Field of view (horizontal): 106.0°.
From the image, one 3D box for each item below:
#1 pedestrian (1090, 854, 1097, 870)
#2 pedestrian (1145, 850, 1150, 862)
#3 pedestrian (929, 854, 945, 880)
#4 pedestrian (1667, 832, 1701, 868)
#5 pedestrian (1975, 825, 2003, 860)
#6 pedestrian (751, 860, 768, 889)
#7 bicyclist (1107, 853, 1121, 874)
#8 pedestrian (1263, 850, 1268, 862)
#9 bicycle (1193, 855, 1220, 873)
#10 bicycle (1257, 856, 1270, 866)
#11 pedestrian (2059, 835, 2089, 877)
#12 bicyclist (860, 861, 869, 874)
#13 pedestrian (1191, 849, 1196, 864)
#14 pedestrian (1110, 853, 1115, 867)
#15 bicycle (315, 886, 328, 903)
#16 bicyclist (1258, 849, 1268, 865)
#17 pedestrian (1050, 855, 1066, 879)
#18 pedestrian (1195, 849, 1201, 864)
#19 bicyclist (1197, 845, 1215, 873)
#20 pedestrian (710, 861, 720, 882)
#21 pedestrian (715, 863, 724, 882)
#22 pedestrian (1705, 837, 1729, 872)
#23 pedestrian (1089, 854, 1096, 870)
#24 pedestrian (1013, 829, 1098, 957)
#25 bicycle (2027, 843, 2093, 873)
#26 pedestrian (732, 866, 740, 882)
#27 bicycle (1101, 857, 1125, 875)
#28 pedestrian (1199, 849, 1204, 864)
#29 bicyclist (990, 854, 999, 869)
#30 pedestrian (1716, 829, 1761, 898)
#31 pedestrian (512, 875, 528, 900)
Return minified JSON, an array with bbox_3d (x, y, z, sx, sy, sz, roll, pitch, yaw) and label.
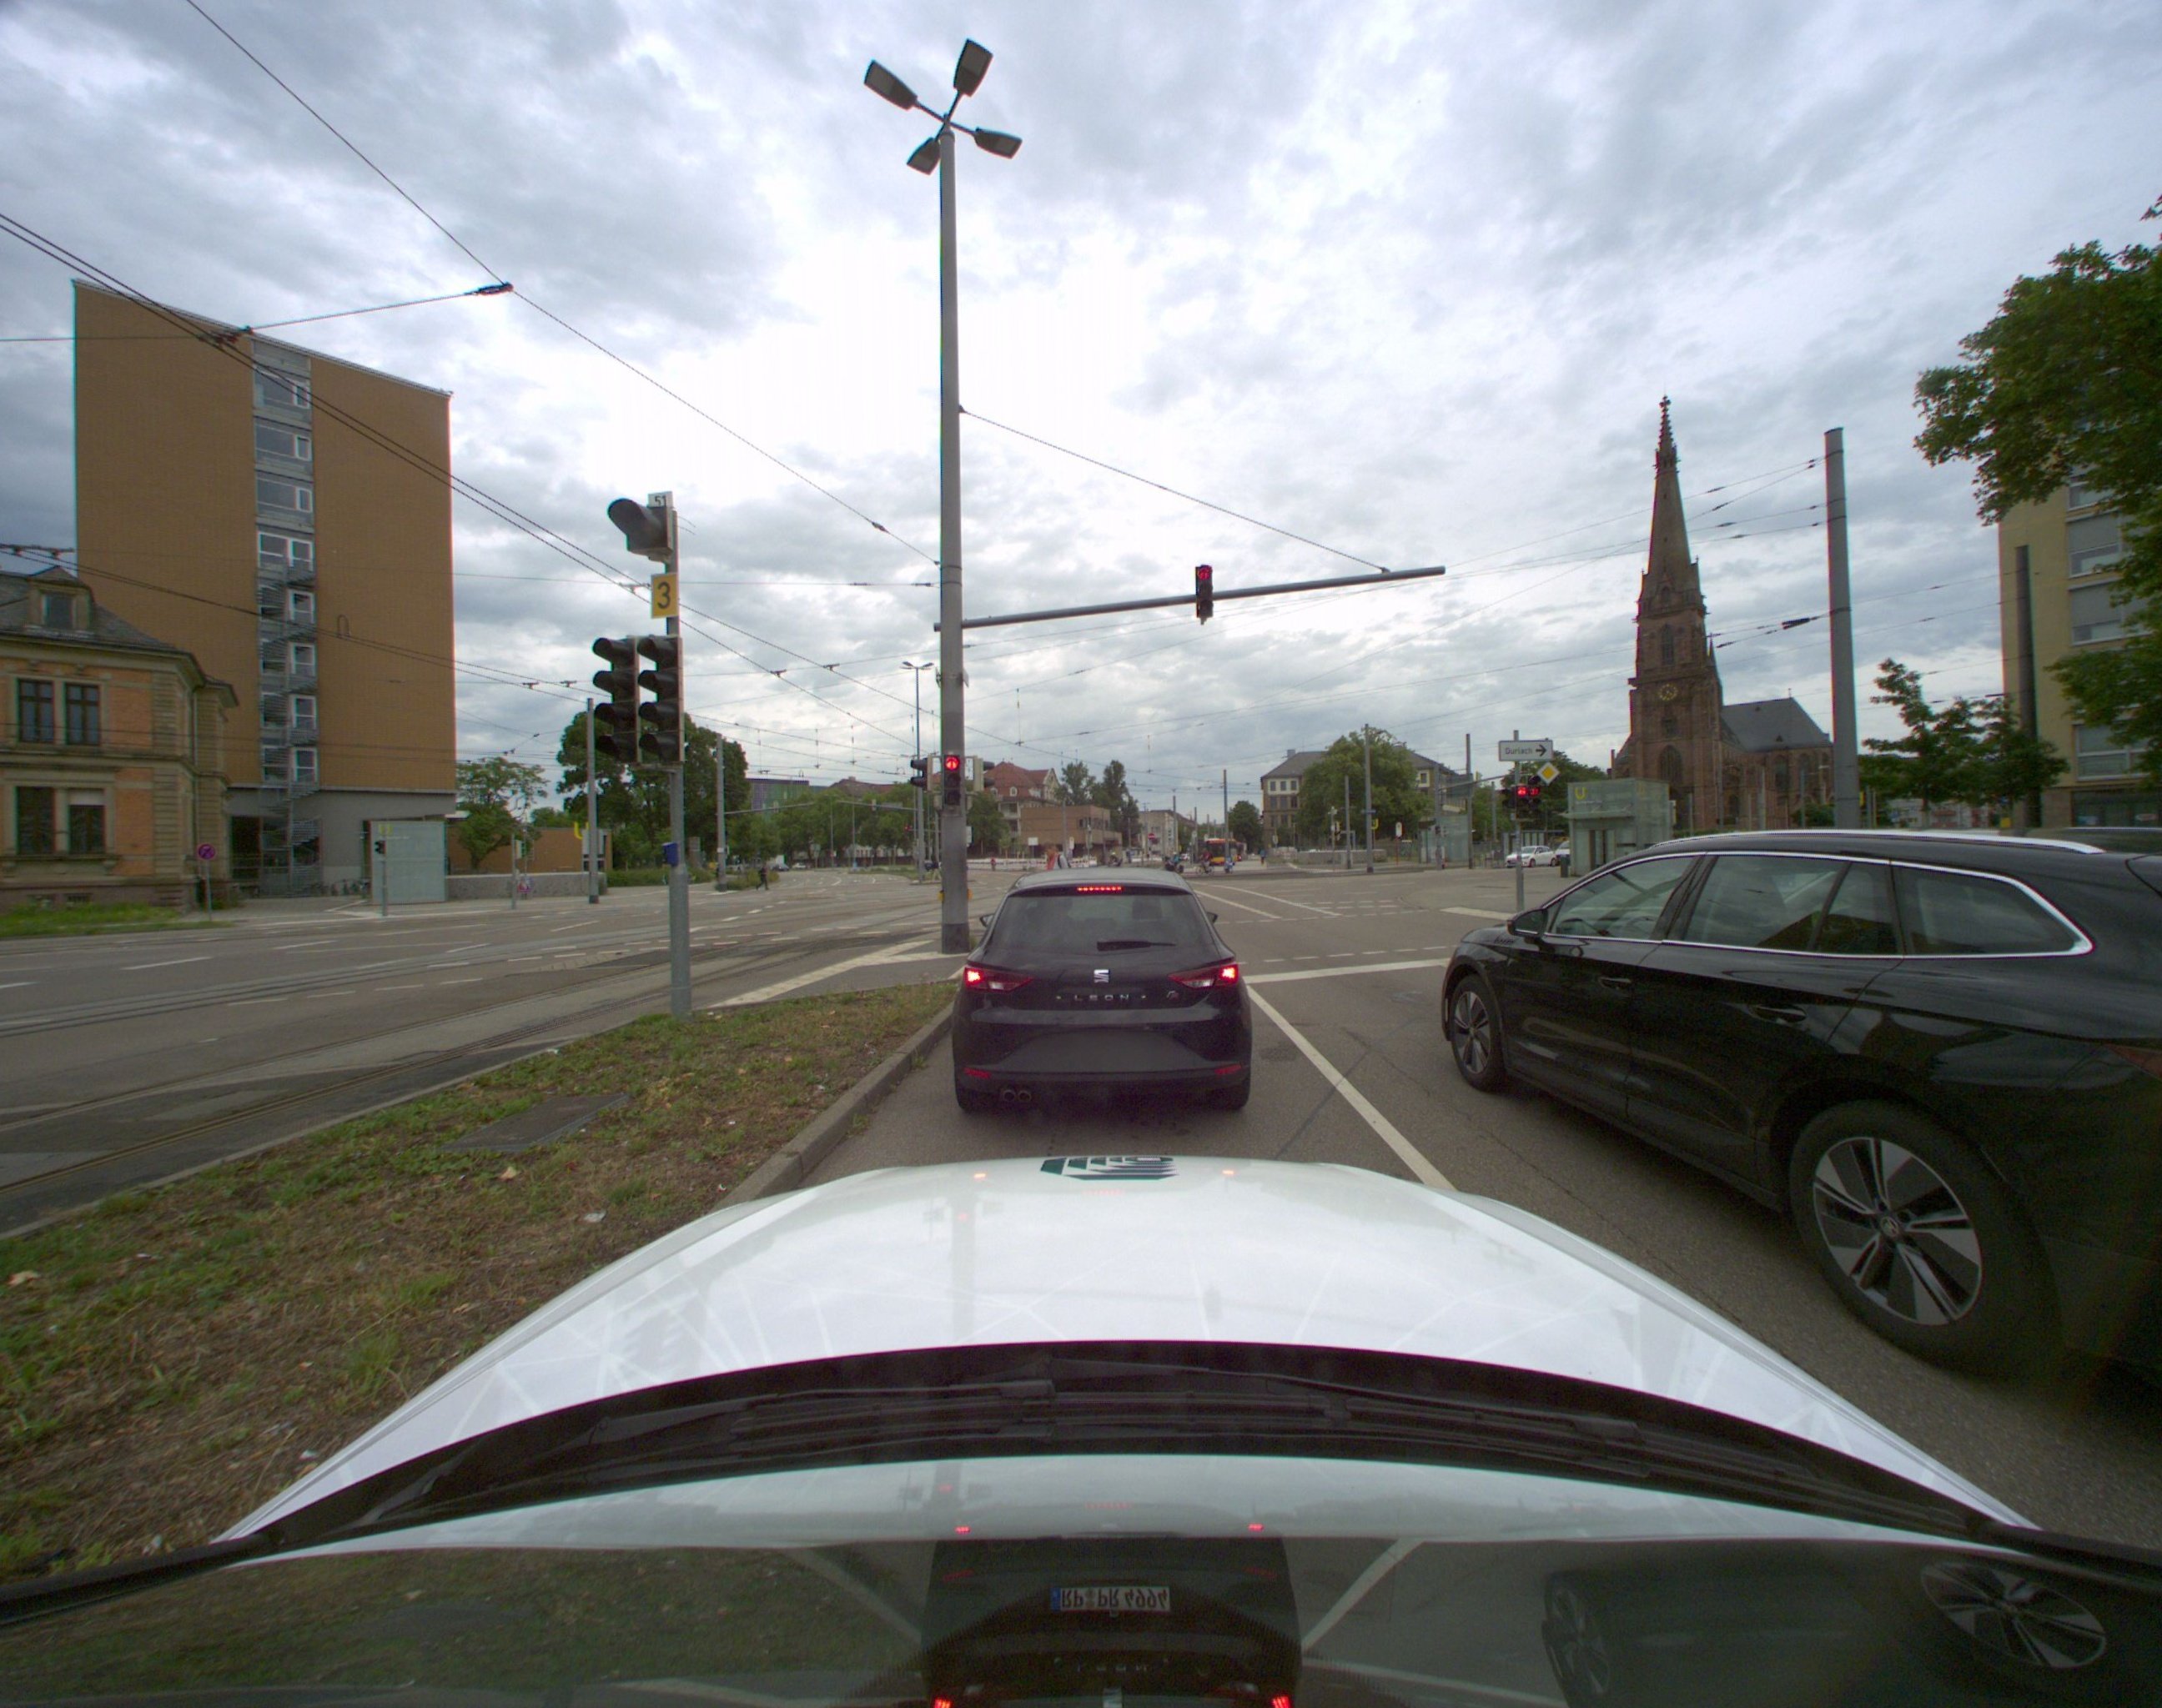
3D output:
[{"bbox_3d":[1.509,0.946,97.521,0.704,1.918,0.625,-2,0,9],"label":"pedestrian"},{"bbox_3d":[11.391,0.334,139.862,0.615,1.918,0.715,-3,-2,27],"label":"pedestrian"},{"bbox_3d":[-10.962,0.997,61.835,1.032,1.934,0.695,-2,0,-24],"label":"pedestrian"},{"bbox_3d":[31.155,-0.206,42.104,0.950,1.797,1.076,-1,-2,-32],"label":"pedestrian"},{"bbox_3d":[43.195,-0.561,38.742,0.640,1.638,0.778,-1,0,-35],"label":"pedestrian"},{"bbox_3d":[-22.962,1.468,58.093,1.023,2.013,0.841,-1,0,-18],"label":"pedestrian"},{"bbox_3d":[2.553,0.738,63.324,0.855,1.673,0.651,-1,0,-15],"label":"bicyclist"},{"bbox_3d":[31.544,0.311,139.352,0.659,2.013,0.692,-2,0,2],"label":"pedestrian"},{"bbox_3d":[8.741,0.714,56.499,2.044,1.184,0.768,-1,0,-44],"label":"bicycle"},{"bbox_3d":[20.689,0.815,92.415,0.863,1.104,2.299,-1,0,-3],"label":"bicycle"},{"bbox_3d":[39.453,0.070,32.357,0.875,1.638,0.631,-1,0,-32],"label":"pedestrian"},{"bbox_3d":[-34.287,2.126,128.949,0.928,2.013,0.984,-2,0,30],"label":"bicyclist"},{"bbox_3d":[14.367,0.367,104.004,0.617,1.918,0.701,-2,0,11],"label":"pedestrian"},{"bbox_3d":[4.327,0.824,112.473,0.618,1.918,0.711,-2,0,5],"label":"pedestrian"},{"bbox_3d":[-51.641,2.772,55.365,0.575,1.106,1.411,-1,0,-41],"label":"bicycle"},{"bbox_3d":[20.670,0.360,92.482,0.869,1.851,1.046,-1,0,-4],"label":"bicyclist"},{"bbox_3d":[-1.894,1.036,67.124,0.692,1.934,1.037,-2,0,40],"label":"pedestrian"},{"bbox_3d":[15.143,0.366,105.238,0.618,1.918,0.711,-2,0,5],"label":"pedestrian"},{"bbox_3d":[8.688,0.373,56.472,1.003,1.898,0.768,-1,-1,-44],"label":"bicyclist"},{"bbox_3d":[-36.163,1.725,80.493,0.799,1.981,0.872,-1,-2,-33],"label":"pedestrian"},{"bbox_3d":[-39.750,2.047,89.589,0.799,1.981,0.872,-1,-2,-33],"label":"pedestrian"},{"bbox_3d":[30.575,0.012,39.155,0.875,1.638,0.631,-1,0,-32],"label":"pedestrian"},{"bbox_3d":[1.351,0.933,96.729,0.704,1.918,0.625,-2,0,9],"label":"pedestrian"},{"bbox_3d":[-0.401,0.582,12.824,1.110,1.907,0.727,0,-1,-41],"label":"pedestrian"},{"bbox_3d":[31.505,0.137,26.229,0.596,0.917,1.253,-1,0,-28],"label":"bicycle"},{"bbox_3d":[-44.506,2.556,105.047,0.880,1.981,0.791,-1,-2,-17],"label":"pedestrian"},{"bbox_3d":[2.498,0.937,63.309,1.733,1.321,0.642,-1,0,-15],"label":"bicycle"},{"bbox_3d":[15.441,0.335,104.435,0.617,1.918,0.701,-2,0,11],"label":"pedestrian"},{"bbox_3d":[-9.853,0.877,92.879,0.886,1.732,0.888,-1,0,-20],"label":"bicyclist"},{"bbox_3d":[18.890,0.256,23.392,0.878,1.930,1.023,-1,0,43],"label":"pedestrian"},{"bbox_3d":[-30.733,1.845,44.626,0.492,1.336,0.577,-2,-1,41],"label":"pedestrian"}]
